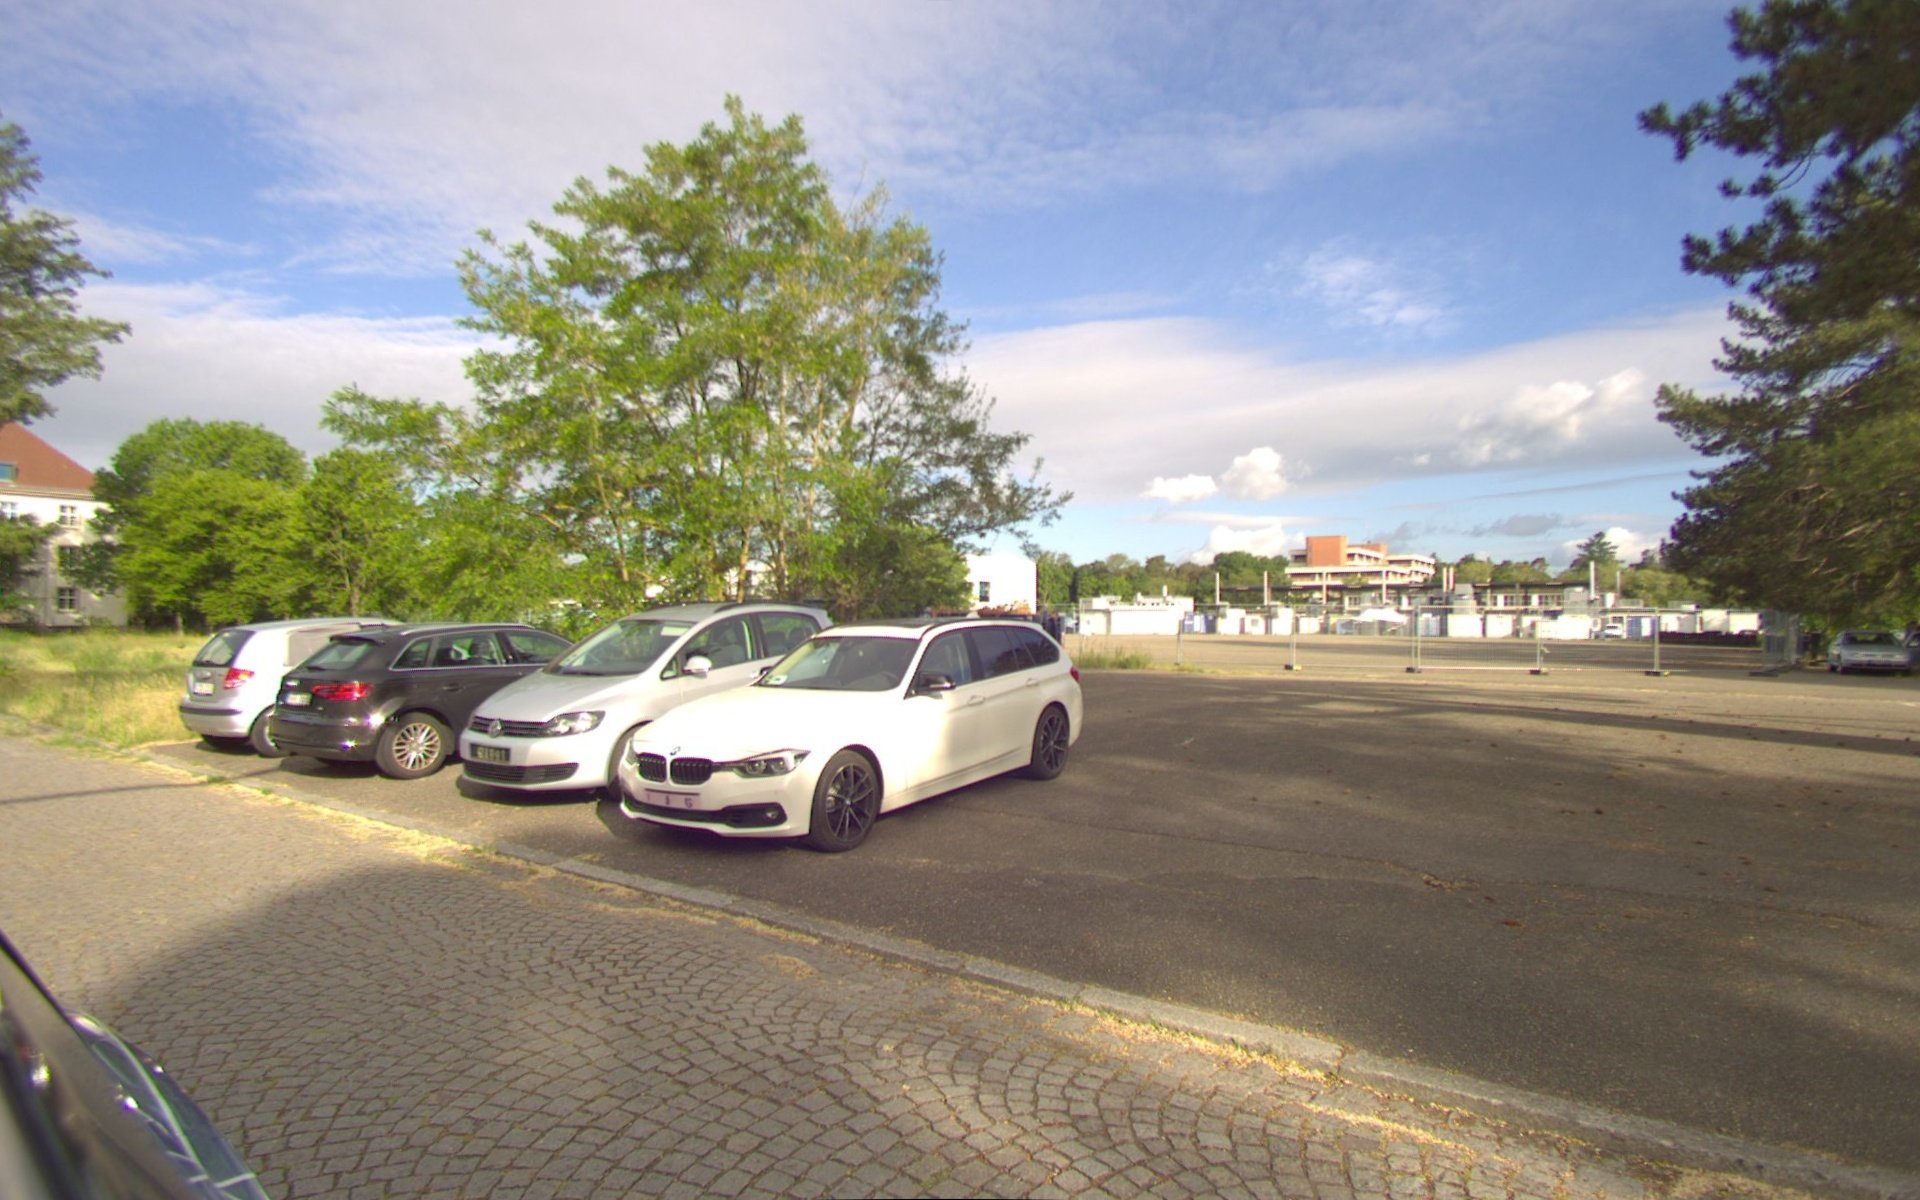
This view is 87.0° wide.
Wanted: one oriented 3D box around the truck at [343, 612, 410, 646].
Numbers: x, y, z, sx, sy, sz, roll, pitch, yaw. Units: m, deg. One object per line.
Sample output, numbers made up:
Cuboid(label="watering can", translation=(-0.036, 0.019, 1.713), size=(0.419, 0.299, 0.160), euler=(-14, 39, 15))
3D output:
Cuboid(label="truck", translation=(-47.182, 2.341, 81.801), size=(6.950, 2.607, 2.388), euler=(-2, -2, 39))

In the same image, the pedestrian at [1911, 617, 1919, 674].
Cuboid(label="pedestrian", translation=(30.207, 1.406, 31.116), size=(1.082, 1.758, 0.877), euler=(0, -1, 6))

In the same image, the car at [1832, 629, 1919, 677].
Cuboid(label="car", translation=(28.936, 1.632, 32.084), size=(1.662, 1.392, 3.950), euler=(0, -1, 37))

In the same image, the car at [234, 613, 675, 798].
Cuboid(label="car", translation=(-5.197, 0.939, 10.840), size=(1.855, 1.440, 3.796), euler=(0, 2, 35))

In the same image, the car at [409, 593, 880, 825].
Cuboid(label="car", translation=(-2.721, 0.793, 9.676), size=(1.852, 1.611, 4.091), euler=(0, 1, 31))

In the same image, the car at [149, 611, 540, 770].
Cuboid(label="car", translation=(-7.345, 0.947, 12.393), size=(1.845, 1.484, 3.652), euler=(0, 2, 34))

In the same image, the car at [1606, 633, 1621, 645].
Cuboid(label="car", translation=(98.989, 5.956, 153.351), size=(1.850, 1.685, 4.153), euler=(0, -1, 32))

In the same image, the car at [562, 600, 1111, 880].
Cuboid(label="car", translation=(-0.633, 0.833, 8.232), size=(1.898, 1.466, 4.550), euler=(-2, 0, 34))
